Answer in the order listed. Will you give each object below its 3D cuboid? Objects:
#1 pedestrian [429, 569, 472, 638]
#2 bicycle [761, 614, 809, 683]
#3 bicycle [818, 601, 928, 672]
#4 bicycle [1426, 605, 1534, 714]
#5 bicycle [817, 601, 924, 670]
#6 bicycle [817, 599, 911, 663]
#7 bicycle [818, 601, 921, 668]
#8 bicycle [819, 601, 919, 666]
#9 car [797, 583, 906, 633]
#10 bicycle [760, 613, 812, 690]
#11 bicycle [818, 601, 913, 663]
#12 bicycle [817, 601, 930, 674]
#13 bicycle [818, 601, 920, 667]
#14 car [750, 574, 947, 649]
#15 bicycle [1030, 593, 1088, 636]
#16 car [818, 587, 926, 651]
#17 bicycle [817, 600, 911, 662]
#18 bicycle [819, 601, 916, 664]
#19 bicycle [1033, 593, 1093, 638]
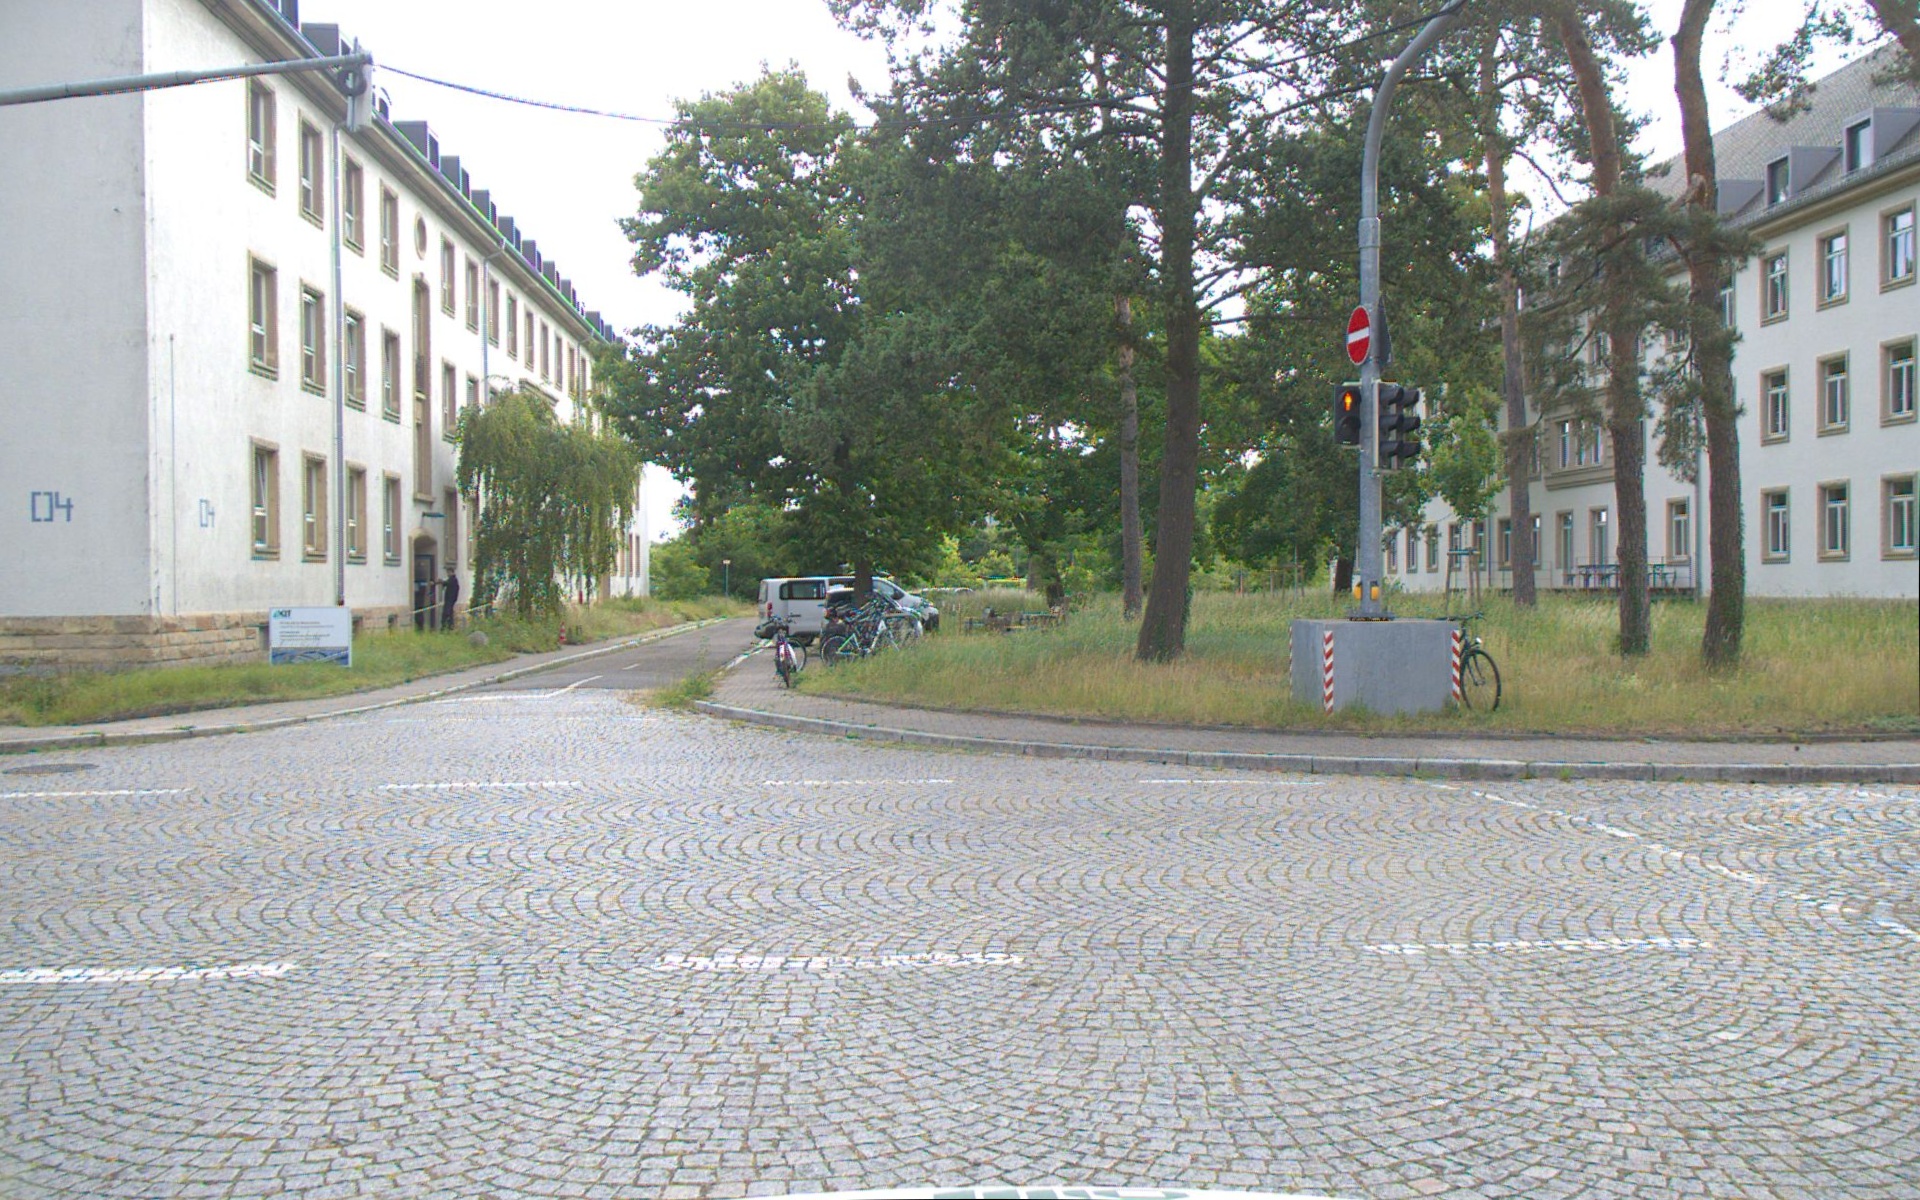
[{"bbox_3d":[-13.614,0.097,44.204,0.820,1.812,0.941,0,0,1],"label":"pedestrian"},{"bbox_3d":[-2.902,0.790,27.607,0.609,1.101,1.677,0,0,0],"label":"bicycle"},{"bbox_3d":[-1.579,0.653,29.756,1.944,1.269,0.623,0,0,-6],"label":"bicycle"},{"bbox_3d":[5.373,0.586,17.181,0.568,0.987,1.678,-2,2,0],"label":"bicycle"},{"bbox_3d":[-1.664,0.653,30.678,1.944,1.269,0.623,0,0,-6],"label":"bicycle"},{"bbox_3d":[-2.067,0.652,35.420,1.944,1.269,0.623,-2,0,-6],"label":"bicycle"},{"bbox_3d":[-1.731,0.653,31.534,1.944,1.269,0.623,0,0,-6],"label":"bicycle"},{"bbox_3d":[-1.800,0.653,32.689,1.944,1.269,0.623,0,0,-6],"label":"bicycle"},{"bbox_3d":[-4.004,0.279,60.999,3.953,1.748,1.679,-1,0,-5],"label":"car"},{"bbox_3d":[-2.686,0.774,25.664,0.609,1.133,1.988,0,0,-1],"label":"bicycle"},{"bbox_3d":[-1.961,0.652,34.272,1.944,1.269,0.623,0,0,-6],"label":"bicycle"},{"bbox_3d":[-1.531,0.653,29.129,1.944,1.269,0.623,0,0,-6],"label":"bicycle"},{"bbox_3d":[-1.774,0.653,32.165,1.944,1.269,0.623,0,0,-6],"label":"bicycle"},{"bbox_3d":[-3.192,0.304,47.144,5.223,1.949,2.138,-1,0,-19],"label":"car"},{"bbox_3d":[2.646,0.388,44.250,1.518,1.144,0.401,-1,0,-2],"label":"bicycle"},{"bbox_3d":[-2.334,0.490,43.723,2.792,1.585,1.471,-1,2,-5],"label":"car"},{"bbox_3d":[-2.015,0.652,34.763,1.944,1.269,0.623,0,0,-6],"label":"bicycle"},{"bbox_3d":[-1.900,0.653,33.762,1.944,1.269,0.623,0,0,-6],"label":"bicycle"},{"bbox_3d":[2.665,0.390,43.017,1.518,1.144,0.401,-1,0,-2],"label":"bicycle"}]
